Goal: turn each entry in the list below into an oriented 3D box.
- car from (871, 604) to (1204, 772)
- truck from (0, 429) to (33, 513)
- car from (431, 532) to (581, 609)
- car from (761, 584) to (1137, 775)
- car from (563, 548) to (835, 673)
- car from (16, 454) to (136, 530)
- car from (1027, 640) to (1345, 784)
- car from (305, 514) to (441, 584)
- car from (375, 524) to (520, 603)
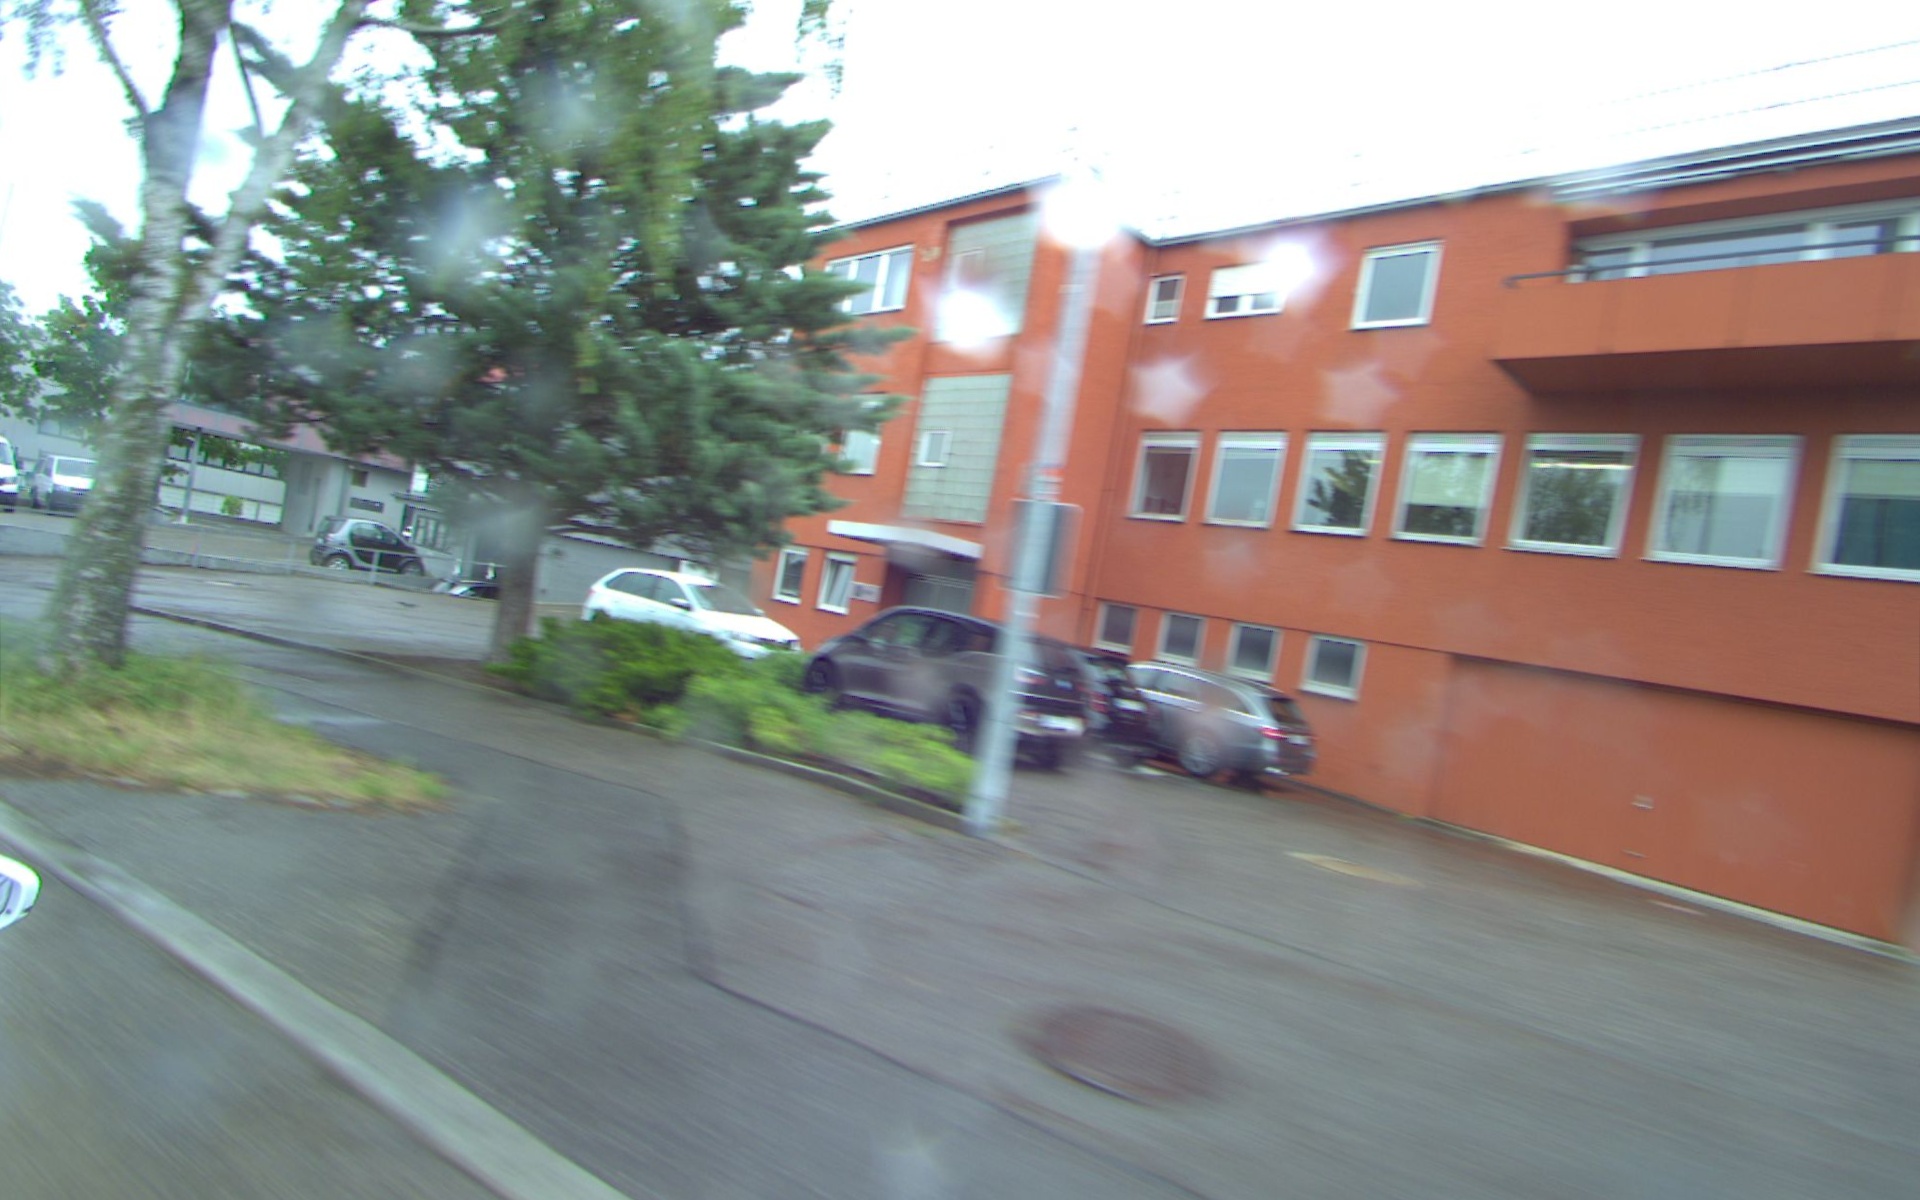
[{"bbox_3d":[0.960,1.185,14.475,1.985,1.698,4.457,9,-2,-43],"label":"car"},{"bbox_3d":[-30.410,-4.104,30.686,4.765,2.369,2.243,7,-1,38],"label":"truck"},{"bbox_3d":[-11.703,-0.737,26.015,1.606,1.513,3.032,7,-1,40],"label":"car"},{"bbox_3d":[-0.308,0.889,12.398,1.992,1.596,4.457,11,-4,-43],"label":"car"},{"bbox_3d":[-4.415,0.153,16.847,4.258,1.488,1.906,7,-1,33],"label":"car"},{"bbox_3d":[-29.383,-3.588,33.390,4.866,2.037,2.056,6,-2,39],"label":"car"},{"bbox_3d":[3.442,1.706,15.977,1.967,1.465,4.456,12,-4,-44],"label":"car"},{"bbox_3d":[-15.881,-1.367,27.271,1.655,1.464,2.707,7,-1,43],"label":"car"},{"bbox_3d":[-17.846,-1.250,35.168,1.834,1.754,3.927,9,-5,44],"label":"car"}]
